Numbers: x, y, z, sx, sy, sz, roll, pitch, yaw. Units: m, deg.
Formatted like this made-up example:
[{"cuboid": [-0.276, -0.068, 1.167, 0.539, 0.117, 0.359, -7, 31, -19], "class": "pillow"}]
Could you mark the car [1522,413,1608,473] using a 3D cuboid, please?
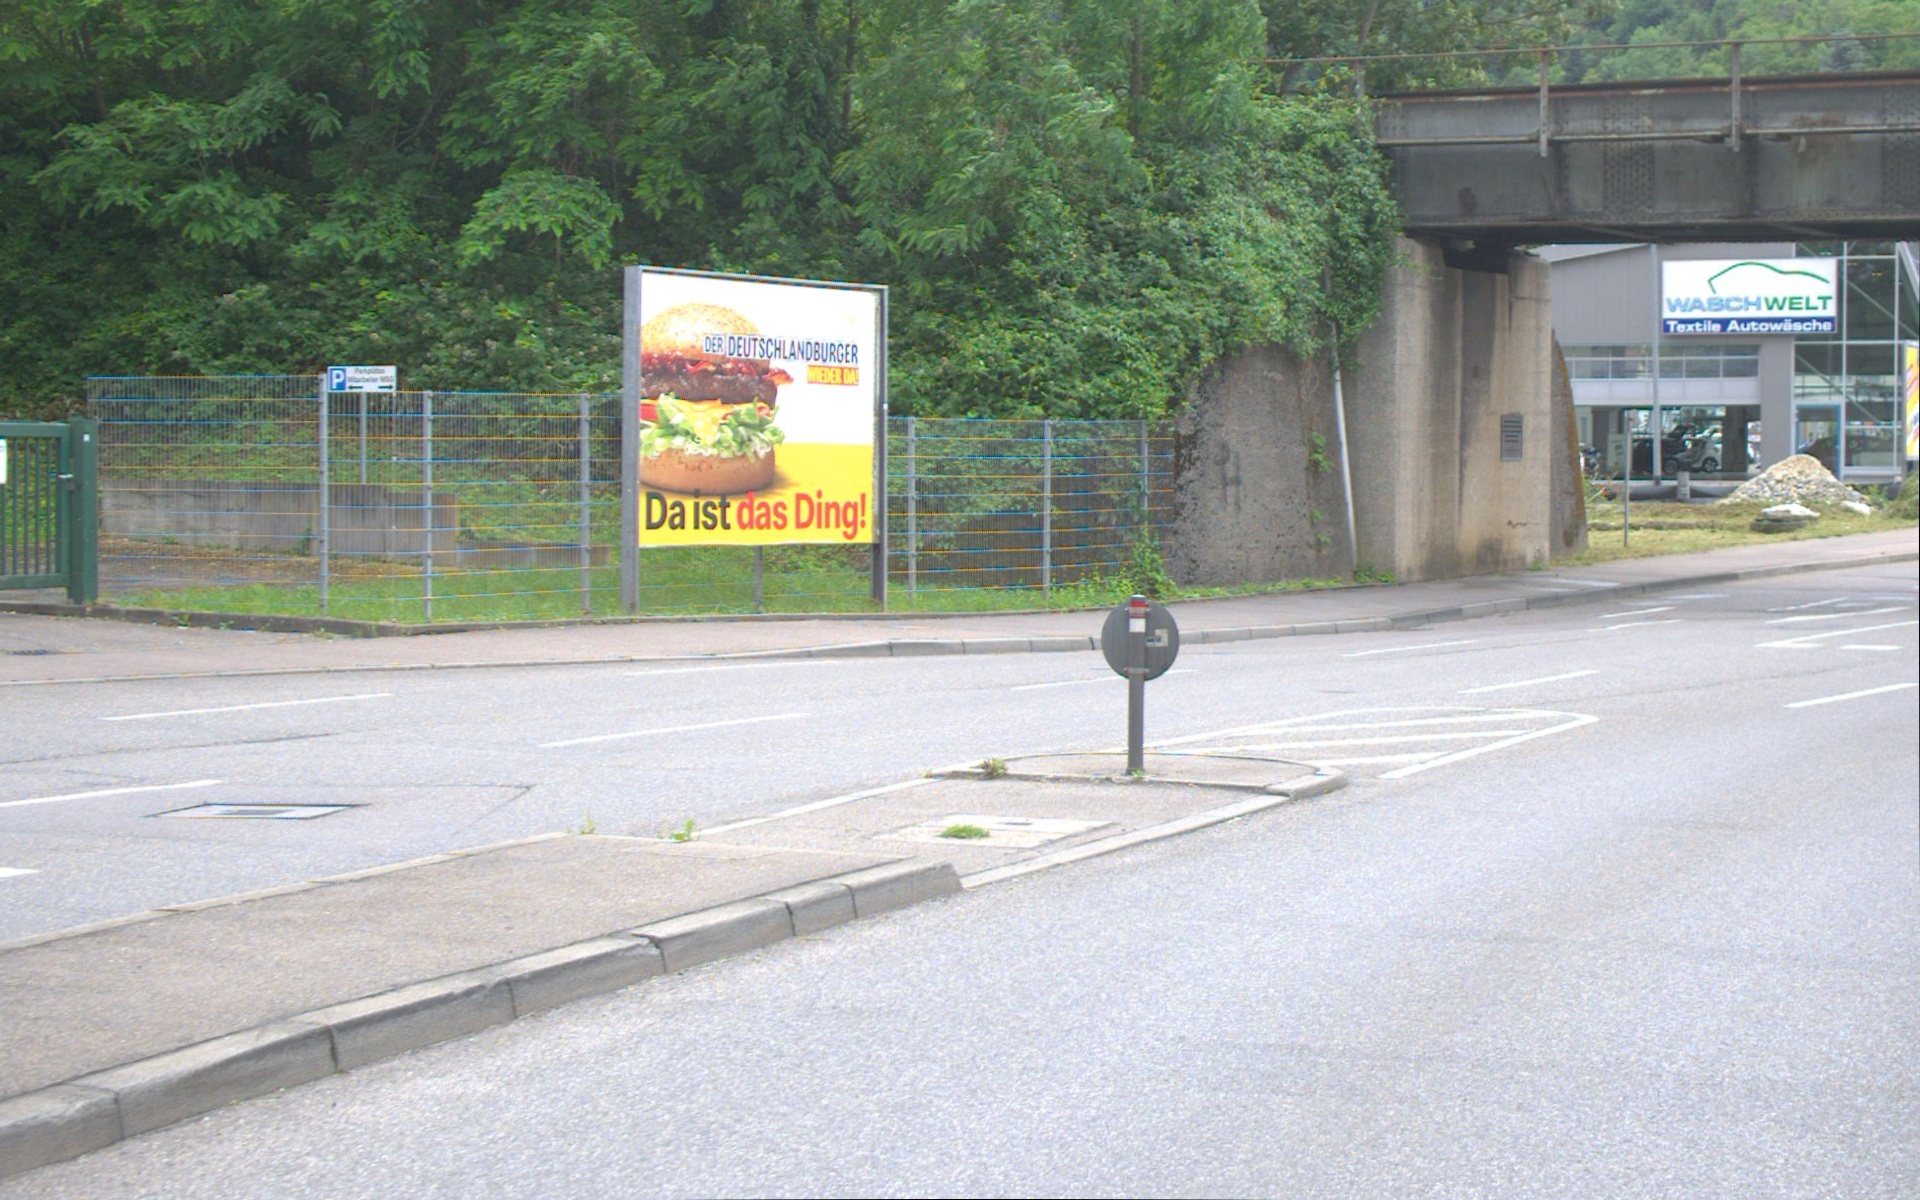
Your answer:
[{"cuboid": [16.065, -4.181, 91.502, 1.994, 1.530, 4.000, 1, 3, 7], "class": "car"}]
